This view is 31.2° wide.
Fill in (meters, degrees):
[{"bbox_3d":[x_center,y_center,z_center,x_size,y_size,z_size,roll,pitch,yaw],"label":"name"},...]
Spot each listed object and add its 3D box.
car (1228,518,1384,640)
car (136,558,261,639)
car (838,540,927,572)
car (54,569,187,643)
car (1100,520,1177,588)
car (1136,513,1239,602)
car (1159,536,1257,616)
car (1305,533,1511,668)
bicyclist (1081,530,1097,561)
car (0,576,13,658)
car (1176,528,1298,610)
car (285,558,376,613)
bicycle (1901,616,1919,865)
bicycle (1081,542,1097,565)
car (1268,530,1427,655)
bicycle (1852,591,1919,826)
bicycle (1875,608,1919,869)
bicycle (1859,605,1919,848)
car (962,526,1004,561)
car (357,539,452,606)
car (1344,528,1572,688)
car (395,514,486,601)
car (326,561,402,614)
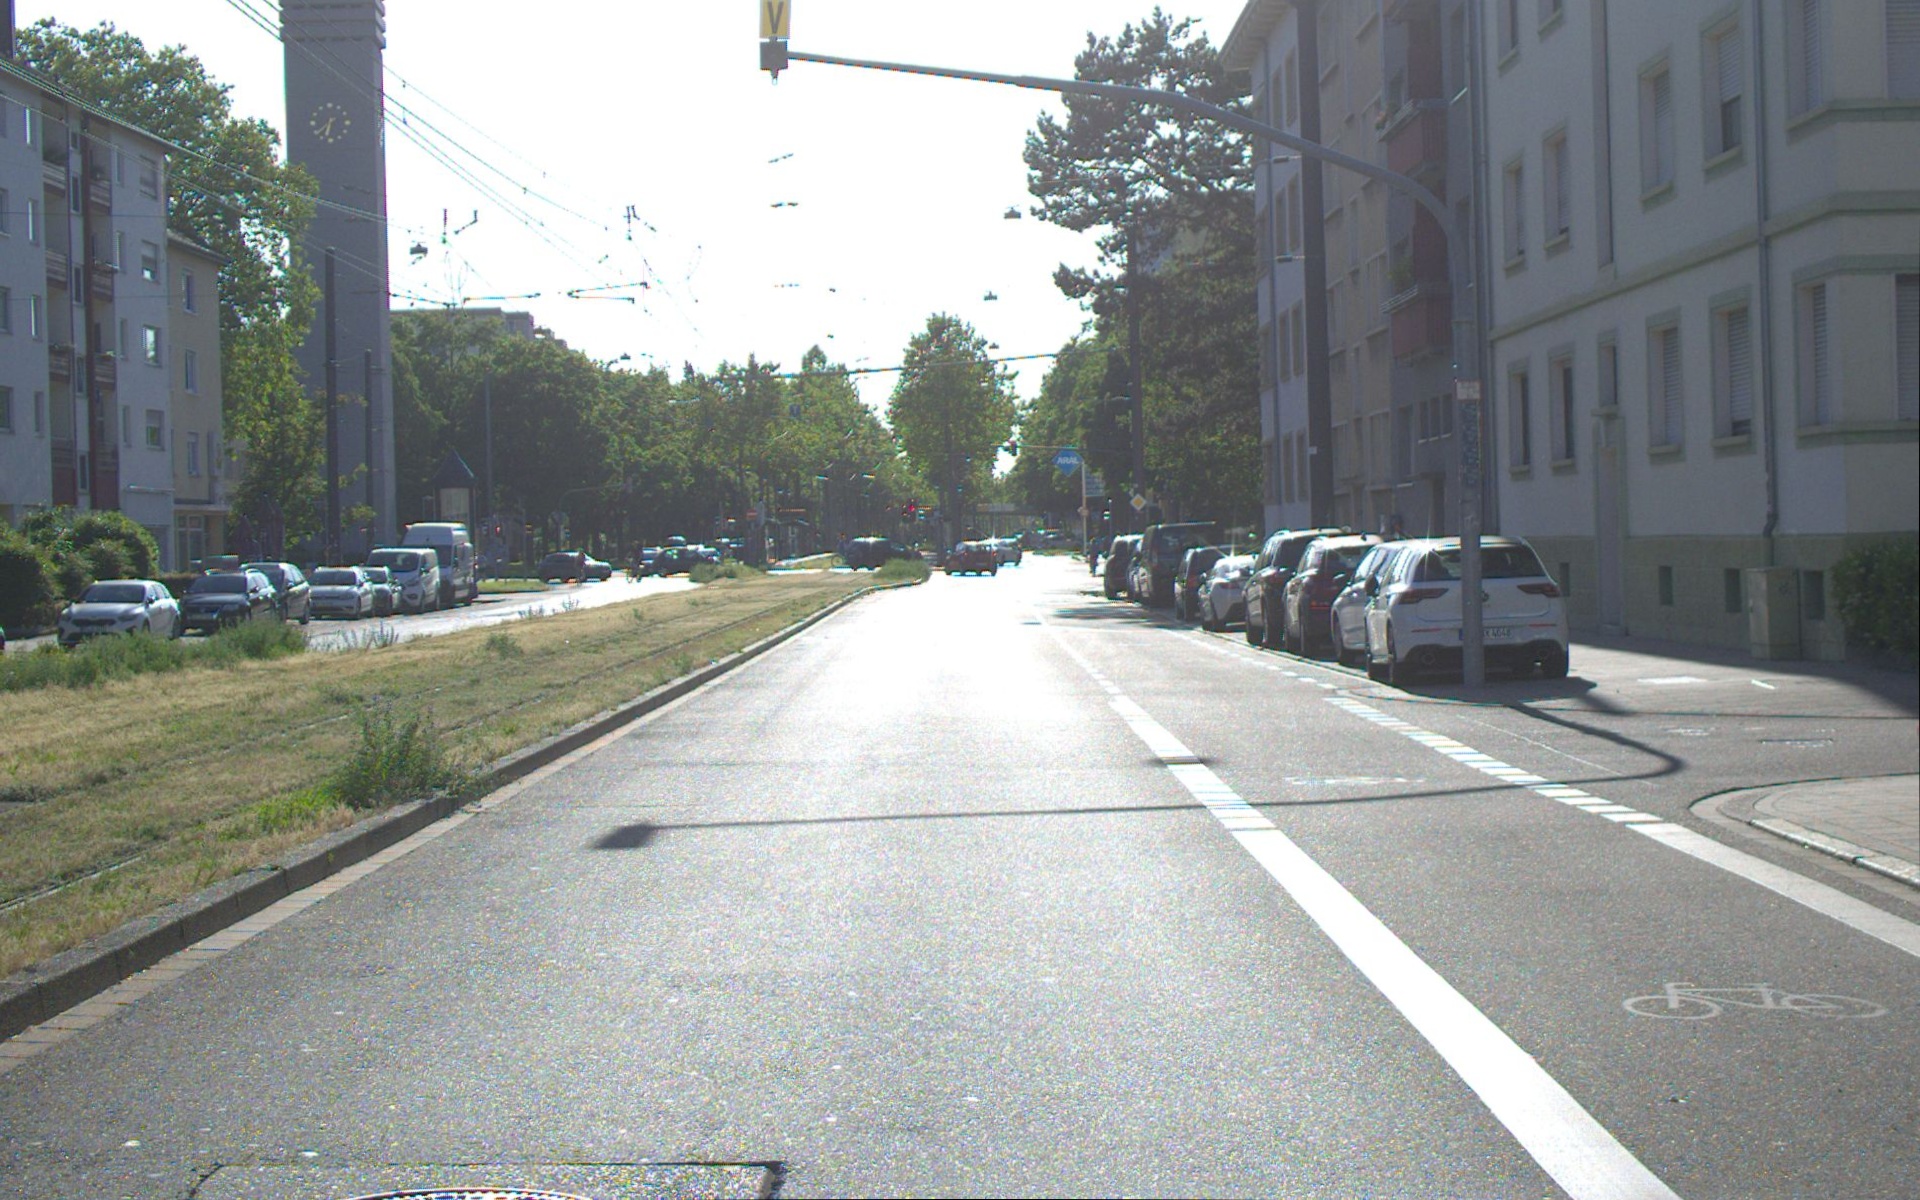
[{"bbox_3d":[5.139,-0.356,51.535,1.635,1.641,4.374,-4,1,-2],"label":"car"},{"bbox_3d":[-18.468,-0.062,83.522,1.993,1.831,4.609,1,1,0],"label":"car"},{"bbox_3d":[-4.083,-2.334,181.802,4.487,1.605,1.899,0,2,-40],"label":"car"},{"bbox_3d":[-17.835,0.097,73.181,1.728,1.449,4.376,0,1,0],"label":"car"},{"bbox_3d":[4.970,-1.303,96.392,1.879,1.711,4.934,-4,1,1],"label":"car"},{"bbox_3d":[5.357,-1.019,81.516,1.913,1.893,5.136,-5,1,0],"label":"car"},{"bbox_3d":[5.004,-0.511,69.769,1.635,1.449,3.789,-4,1,0],"label":"car"},{"bbox_3d":[5.308,-0.038,41.162,1.635,1.453,4.082,-2,1,-4],"label":"car"},{"bbox_3d":[5.553,-2.324,147.710,0.638,1.318,0.803,1,1,3],"label":"bicyclist"},{"bbox_3d":[-17.846,0.329,60.178,1.635,1.437,3.735,1,1,-2],"label":"car"},{"bbox_3d":[4.965,-0.585,62.132,1.702,1.271,4.304,-5,1,-1],"label":"car"},{"bbox_3d":[-17.990,-0.429,98.422,1.892,1.486,4.704,0,1,-2],"label":"car"},{"bbox_3d":[4.985,0.590,14.559,1.916,1.083,0.472,-2,-2,43],"label":"bicycle"},{"bbox_3d":[5.547,-1.990,147.652,0.648,0.969,1.803,1,1,3],"label":"bicycle"},{"bbox_3d":[5.134,-0.137,46.034,1.635,1.512,4.189,-2,1,1],"label":"car"},{"bbox_3d":[5.154,0.491,15.931,1.916,1.083,0.473,-2,3,44],"label":"bicycle"},{"bbox_3d":[4.784,0.603,13.991,2.027,1.083,0.485,2,2,42],"label":"bicycle"},{"bbox_3d":[5.011,0.557,15.293,1.916,1.083,0.473,-2,2,44],"label":"bicycle"},{"bbox_3d":[1.023,-2.509,152.757,1.694,1.503,3.699,0,1,-2],"label":"car"},{"bbox_3d":[-17.731,-0.902,109.942,2.032,2.014,5.370,1,1,1],"label":"car"},{"bbox_3d":[5.054,0.034,35.401,1.694,1.453,4.379,-2,1,1],"label":"car"},{"bbox_3d":[-17.679,-1.485,117.250,2.032,2.859,6.228,0,1,1],"label":"car"},{"bbox_3d":[-18.003,-0.409,103.993,1.694,1.509,4.327,-1,1,-3],"label":"car"}]
